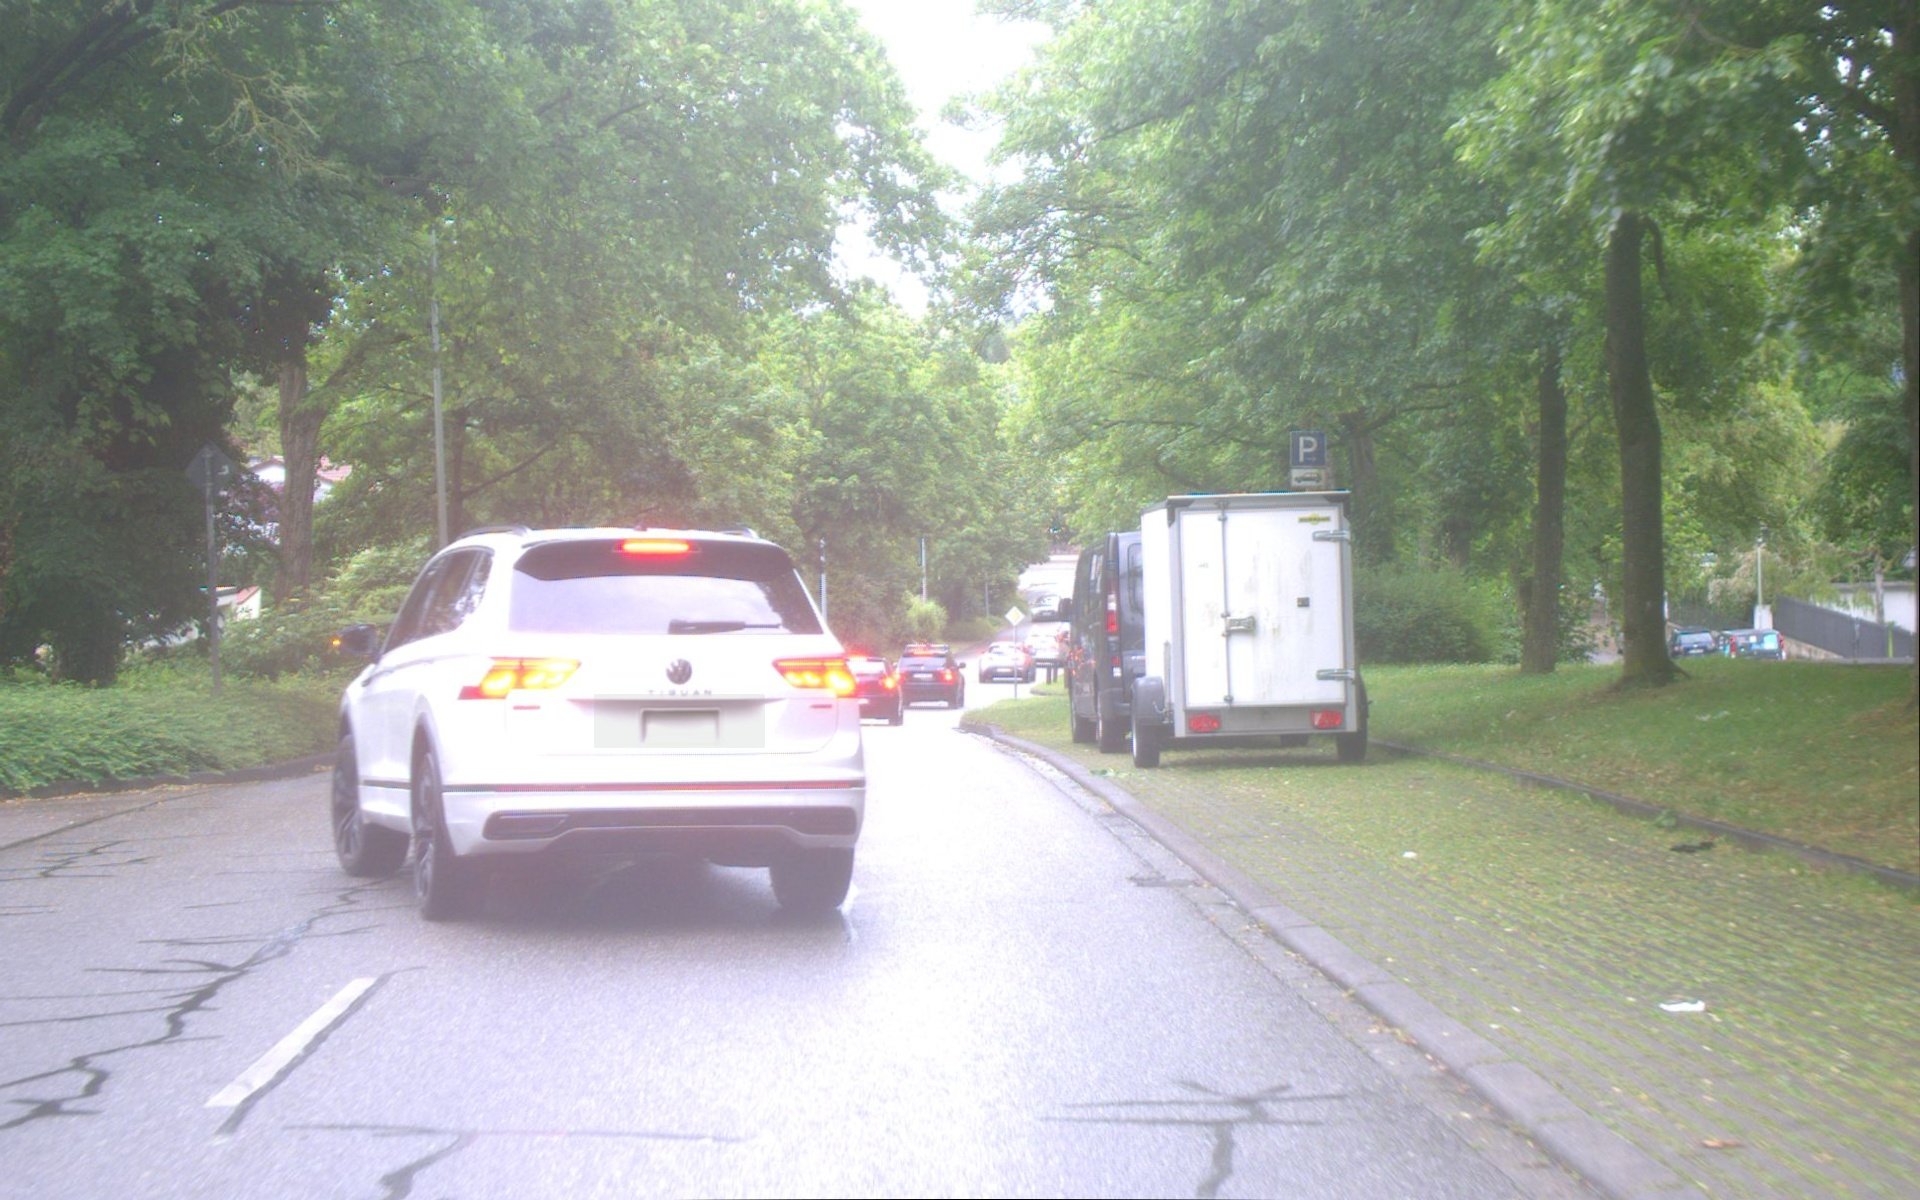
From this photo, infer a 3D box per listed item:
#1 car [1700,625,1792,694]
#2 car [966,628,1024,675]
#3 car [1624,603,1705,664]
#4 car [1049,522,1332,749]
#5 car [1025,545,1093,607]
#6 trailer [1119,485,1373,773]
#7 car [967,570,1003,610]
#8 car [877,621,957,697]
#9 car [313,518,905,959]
[{"bbox_3d":[25.848,1.936,113.181,1.993,2.006,4.001,-2,2,-1],"label":"car"},{"bbox_3d":[1.267,1.891,125.758,1.856,1.686,4.000,-1,-1,-3],"label":"car"},{"bbox_3d":[25.801,1.211,126.030,1.993,2.006,4.001,-2,2,-1],"label":"car"},{"bbox_3d":[2.051,0.332,32.240,1.993,1.903,5.509,-1,-1,-3],"label":"car"},{"bbox_3d":[3.409,-0.815,118.695,1.993,2.007,4.000,-1,-1,-3],"label":"car"},{"bbox_3d":[2.215,0.218,27.481,1.530,2.068,4.000,-2,0,-1],"label":"trailer"},{"bbox_3d":[1.449,-0.585,198.263,1.993,2.006,4.001,-1,4,0],"label":"car"},{"bbox_3d":[-1.203,1.614,94.554,1.993,2.007,4.000,-1,-1,-3],"label":"car"},{"bbox_3d":[-1.751,0.522,15.698,1.905,1.679,4.202,-2,1,-16],"label":"car"}]
